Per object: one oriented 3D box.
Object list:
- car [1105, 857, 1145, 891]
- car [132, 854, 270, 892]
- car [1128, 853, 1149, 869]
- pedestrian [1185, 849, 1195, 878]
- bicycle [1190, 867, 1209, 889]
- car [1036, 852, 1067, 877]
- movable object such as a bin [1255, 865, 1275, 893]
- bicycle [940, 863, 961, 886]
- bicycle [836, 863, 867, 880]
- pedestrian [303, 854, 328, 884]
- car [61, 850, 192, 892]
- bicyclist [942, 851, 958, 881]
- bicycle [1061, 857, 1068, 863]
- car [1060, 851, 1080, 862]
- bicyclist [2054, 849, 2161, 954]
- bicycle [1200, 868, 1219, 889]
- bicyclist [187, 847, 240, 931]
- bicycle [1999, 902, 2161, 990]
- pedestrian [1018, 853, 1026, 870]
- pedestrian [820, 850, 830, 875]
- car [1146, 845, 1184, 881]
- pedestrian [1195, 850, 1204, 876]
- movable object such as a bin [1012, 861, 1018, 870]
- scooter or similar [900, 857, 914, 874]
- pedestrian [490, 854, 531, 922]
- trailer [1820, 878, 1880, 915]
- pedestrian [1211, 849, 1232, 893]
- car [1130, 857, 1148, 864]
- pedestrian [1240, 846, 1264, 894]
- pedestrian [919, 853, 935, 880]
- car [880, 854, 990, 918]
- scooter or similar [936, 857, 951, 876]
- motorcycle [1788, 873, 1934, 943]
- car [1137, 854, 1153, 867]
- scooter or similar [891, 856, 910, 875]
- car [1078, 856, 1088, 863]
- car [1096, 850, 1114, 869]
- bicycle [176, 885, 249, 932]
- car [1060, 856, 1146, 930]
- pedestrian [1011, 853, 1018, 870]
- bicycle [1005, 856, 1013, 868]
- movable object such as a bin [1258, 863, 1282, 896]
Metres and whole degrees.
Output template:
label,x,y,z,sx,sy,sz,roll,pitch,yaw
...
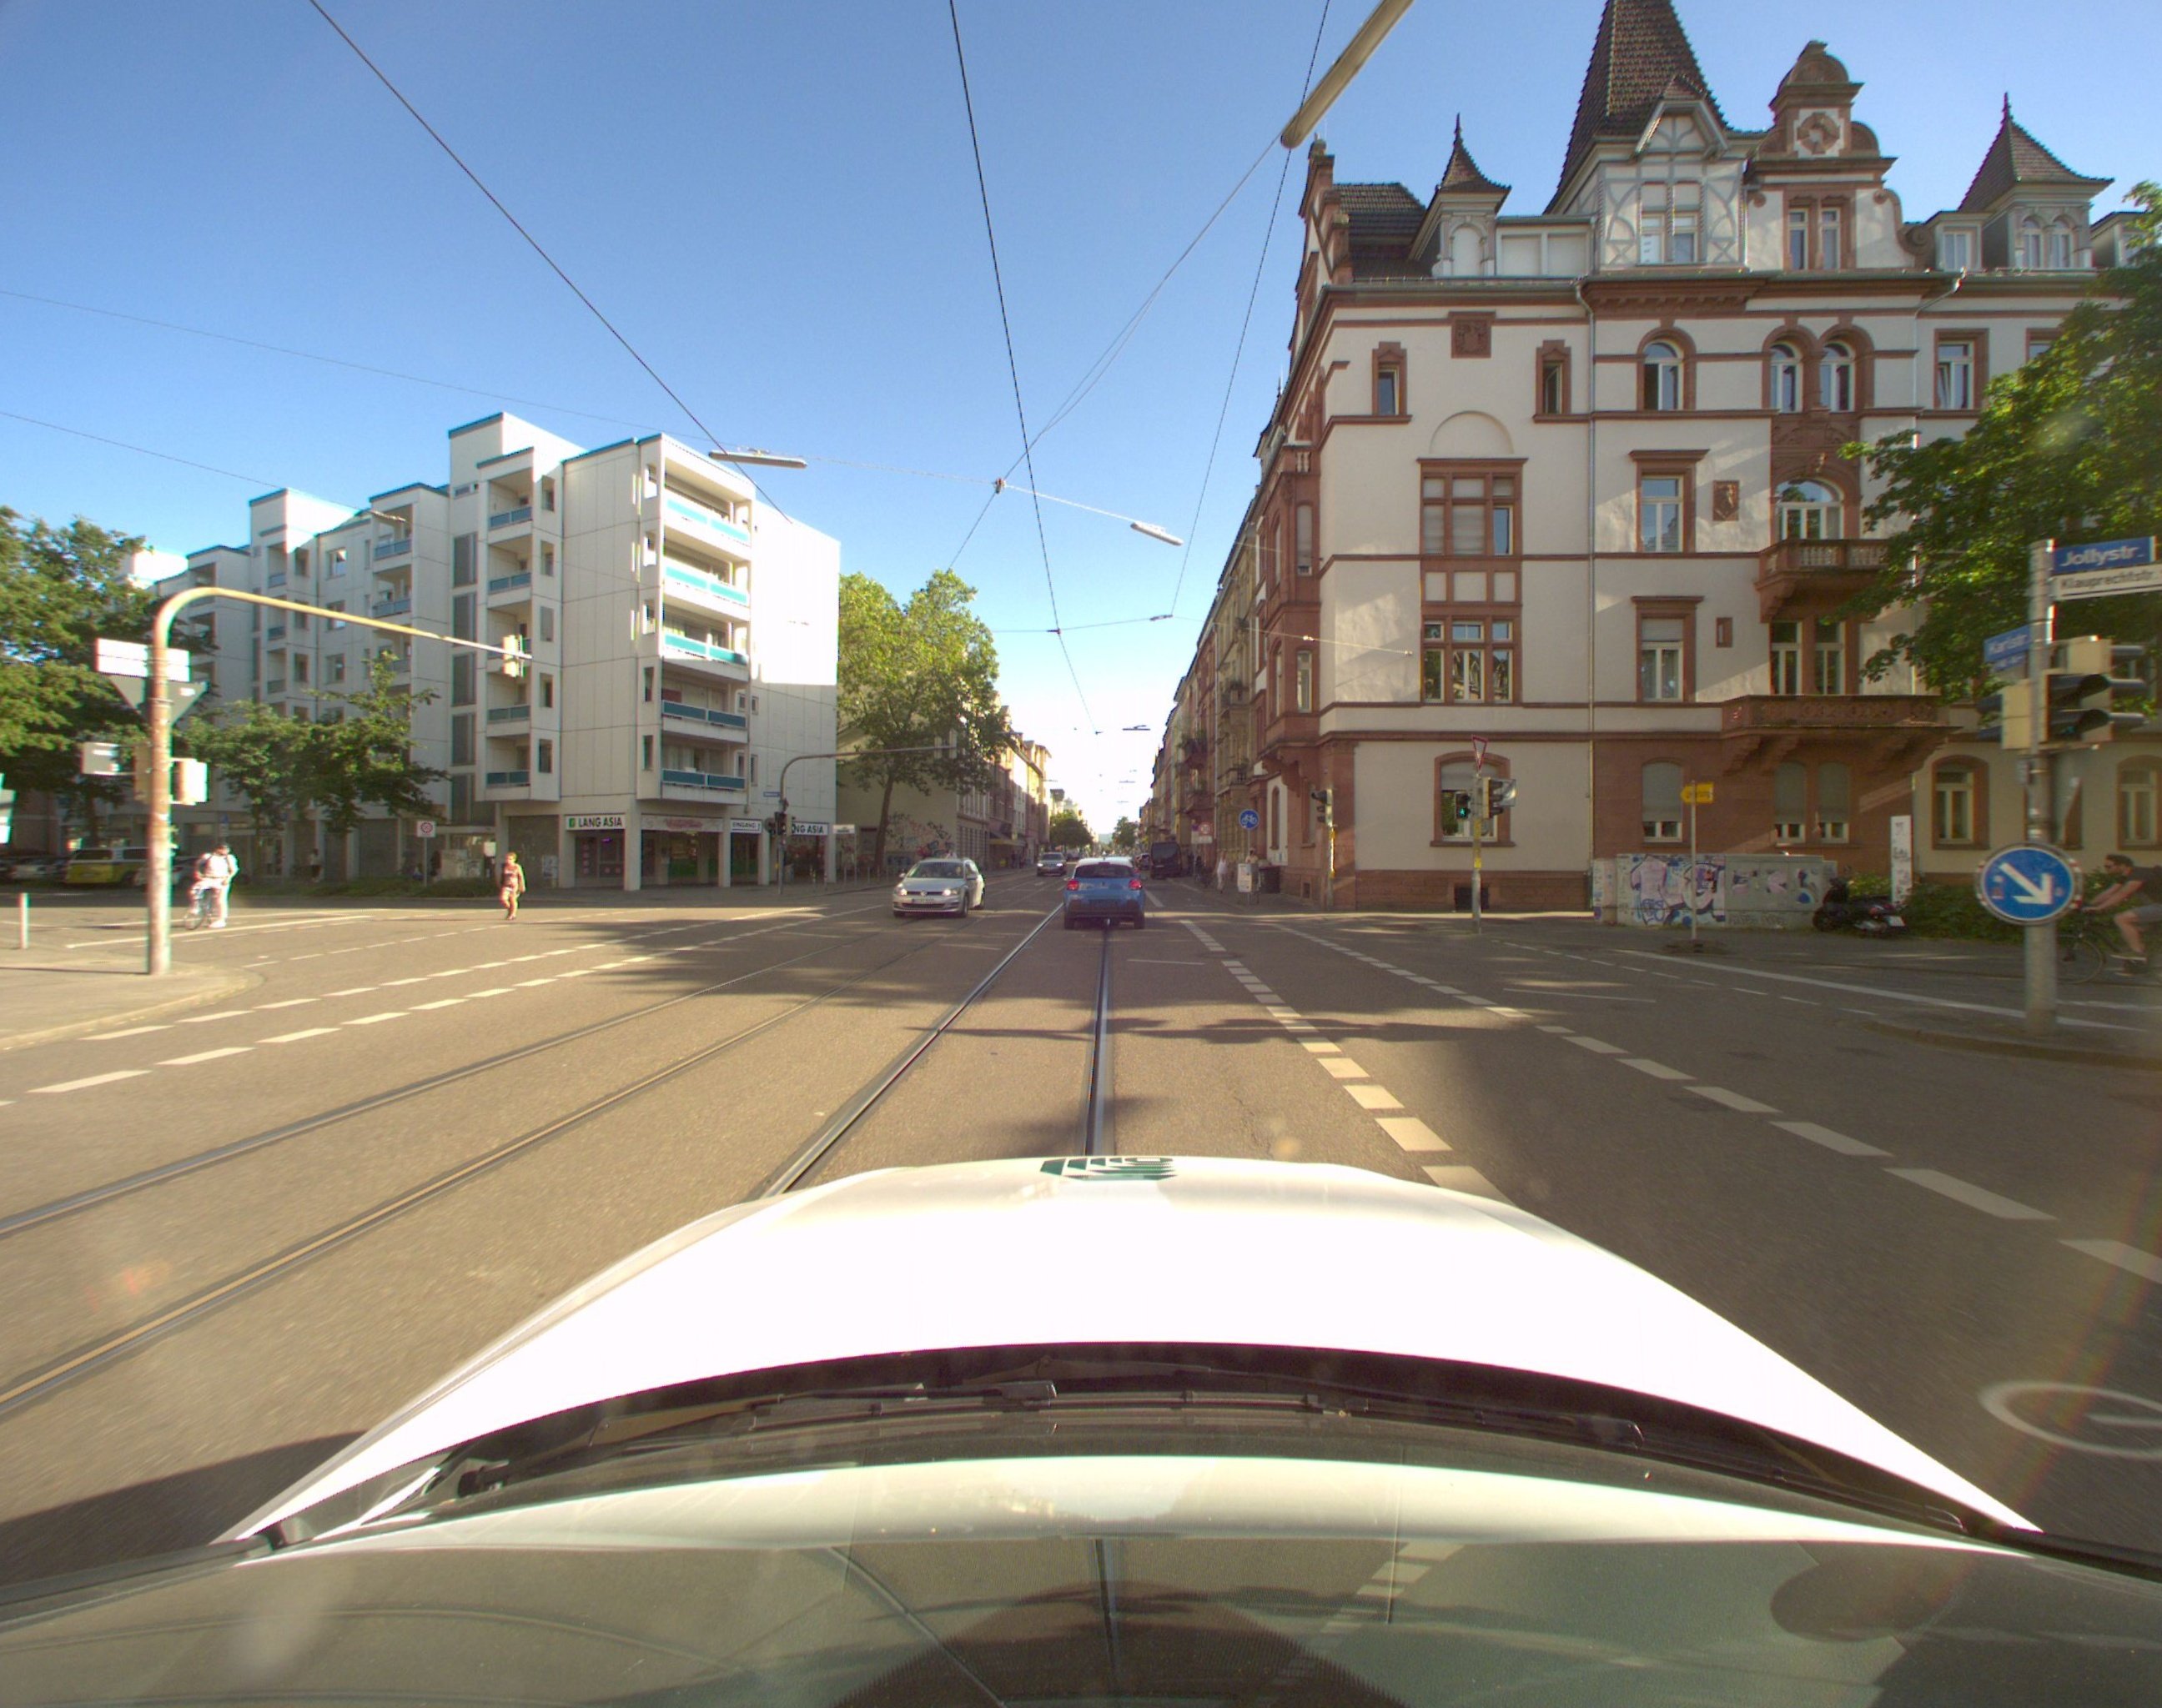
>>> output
label,x,y,z,sx,sy,sz,roll,pitch,yaw
car,1.951,0.859,37.200,1.661,1.478,4.000,0,0,1
car,-38.865,0.801,36.117,1.594,1.486,4.003,2,1,3
car,5.941,0.708,84.801,1.998,1.672,4.808,0,0,2
pedestrian,7.655,0.662,57.014,0.583,2.014,0.823,0,0,1
bicycle,5.372,1.089,37.010,0.430,0.947,1.760,0,0,-5
car,-2.118,0.742,59.633,1.987,1.744,4.563,0,0,1
movable object such as a bin,7.250,0.968,32.098,0.663,1.077,0.571,-1,0,0
bicycle,-6.530,0.999,40.870,0.690,1.120,2.084,0,0,1
bicycle,-14.102,1.053,50.005,1.898,1.034,0.669,0,-1,28
pedestrian,-38.753,0.749,41.222,0.734,1.494,0.722,0,-1,32
car,-44.186,0.758,37.828,1.598,1.875,3.991,0,0,-6
bicyclist,-6.541,0.598,40.691,0.680,1.483,0.778,0,0,1
bicycle,-3.014,1.039,149.218,1.118,1.146,3.639,0,0,-3
car,-2.639,0.646,198.312,4.328,2.581,2.192,-1,0,-24
bicyclist,14.002,0.612,10.869,1.120,1.343,0.843,0,0,36
bicycle,5.834,1.104,37.072,0.430,0.947,1.760,0,0,-5
bicyclist,-18.857,0.734,17.720,0.618,1.764,0.963,1,-1,-38
bicycle,13.959,1.219,10.901,2.070,1.045,0.853,0,0,36
pedestrian,-6.003,0.737,82.721,0.709,1.764,0.653,0,-1,-7
pedestrian,-17.678,0.588,56.245,0.454,1.718,0.547,0,-1,1
car,5.891,0.608,57.485,2.263,2.437,5.722,0,0,2
pedestrian,8.143,0.610,55.946,0.551,1.782,0.606,0,-1,0
movable object such as a bin,-6.740,1.133,83.268,0.608,0.914,0.695,0,0,2
scooter or similar,-12.208,0.806,57.252,0.937,1.222,0.765,0,0,-10
pedestrian,-13.298,0.779,18.989,0.541,1.552,0.516,1,-1,0
trailer,20.004,1.107,21.194,0.777,0.924,0.832,0,-1,0
pedestrian,5.483,0.661,31.773,0.626,1.701,0.681,0,0,-7
car,12.354,1.354,174.277,3.824,1.618,1.791,0,0,-1
pedestrian,6.517,0.614,31.098,0.703,1.782,0.673,-3,-1,0
pedestrian,-10.082,0.817,53.410,0.678,1.765,1.029,0,0,12
car,-3.654,0.750,21.179,1.978,1.502,4.309,0,0,1
scooter or similar,-9.767,0.877,57.867,0.785,1.271,1.075,3,1,1
motorcycle,15.318,1.015,16.107,0.609,1.124,2.391,0,2,1
car,8.547,0.865,109.108,1.998,1.672,4.393,0,0,2
scooter or similar,-12.511,0.800,56.397,1.228,1.258,0.765,0,0,-11
car,0.474,1.173,181.790,1.986,1.651,4.000,0,0,1
car,2.624,0.564,89.555,1.986,2.014,4.000,0,0,1
bicycle,-18.958,1.163,17.813,0.795,0.909,1.794,1,0,-37
car,0.396,0.794,18.363,1.670,1.477,3.997,0,0,-2
pedestrian,-6.723,0.750,82.584,0.708,1.764,0.570,0,-1,0
bicycle,-7.505,0.816,84.885,0.621,1.159,2.057,0,0,-11
movable object such as a bin,7.305,0.985,31.436,0.664,1.153,0.594,-7,1,0
